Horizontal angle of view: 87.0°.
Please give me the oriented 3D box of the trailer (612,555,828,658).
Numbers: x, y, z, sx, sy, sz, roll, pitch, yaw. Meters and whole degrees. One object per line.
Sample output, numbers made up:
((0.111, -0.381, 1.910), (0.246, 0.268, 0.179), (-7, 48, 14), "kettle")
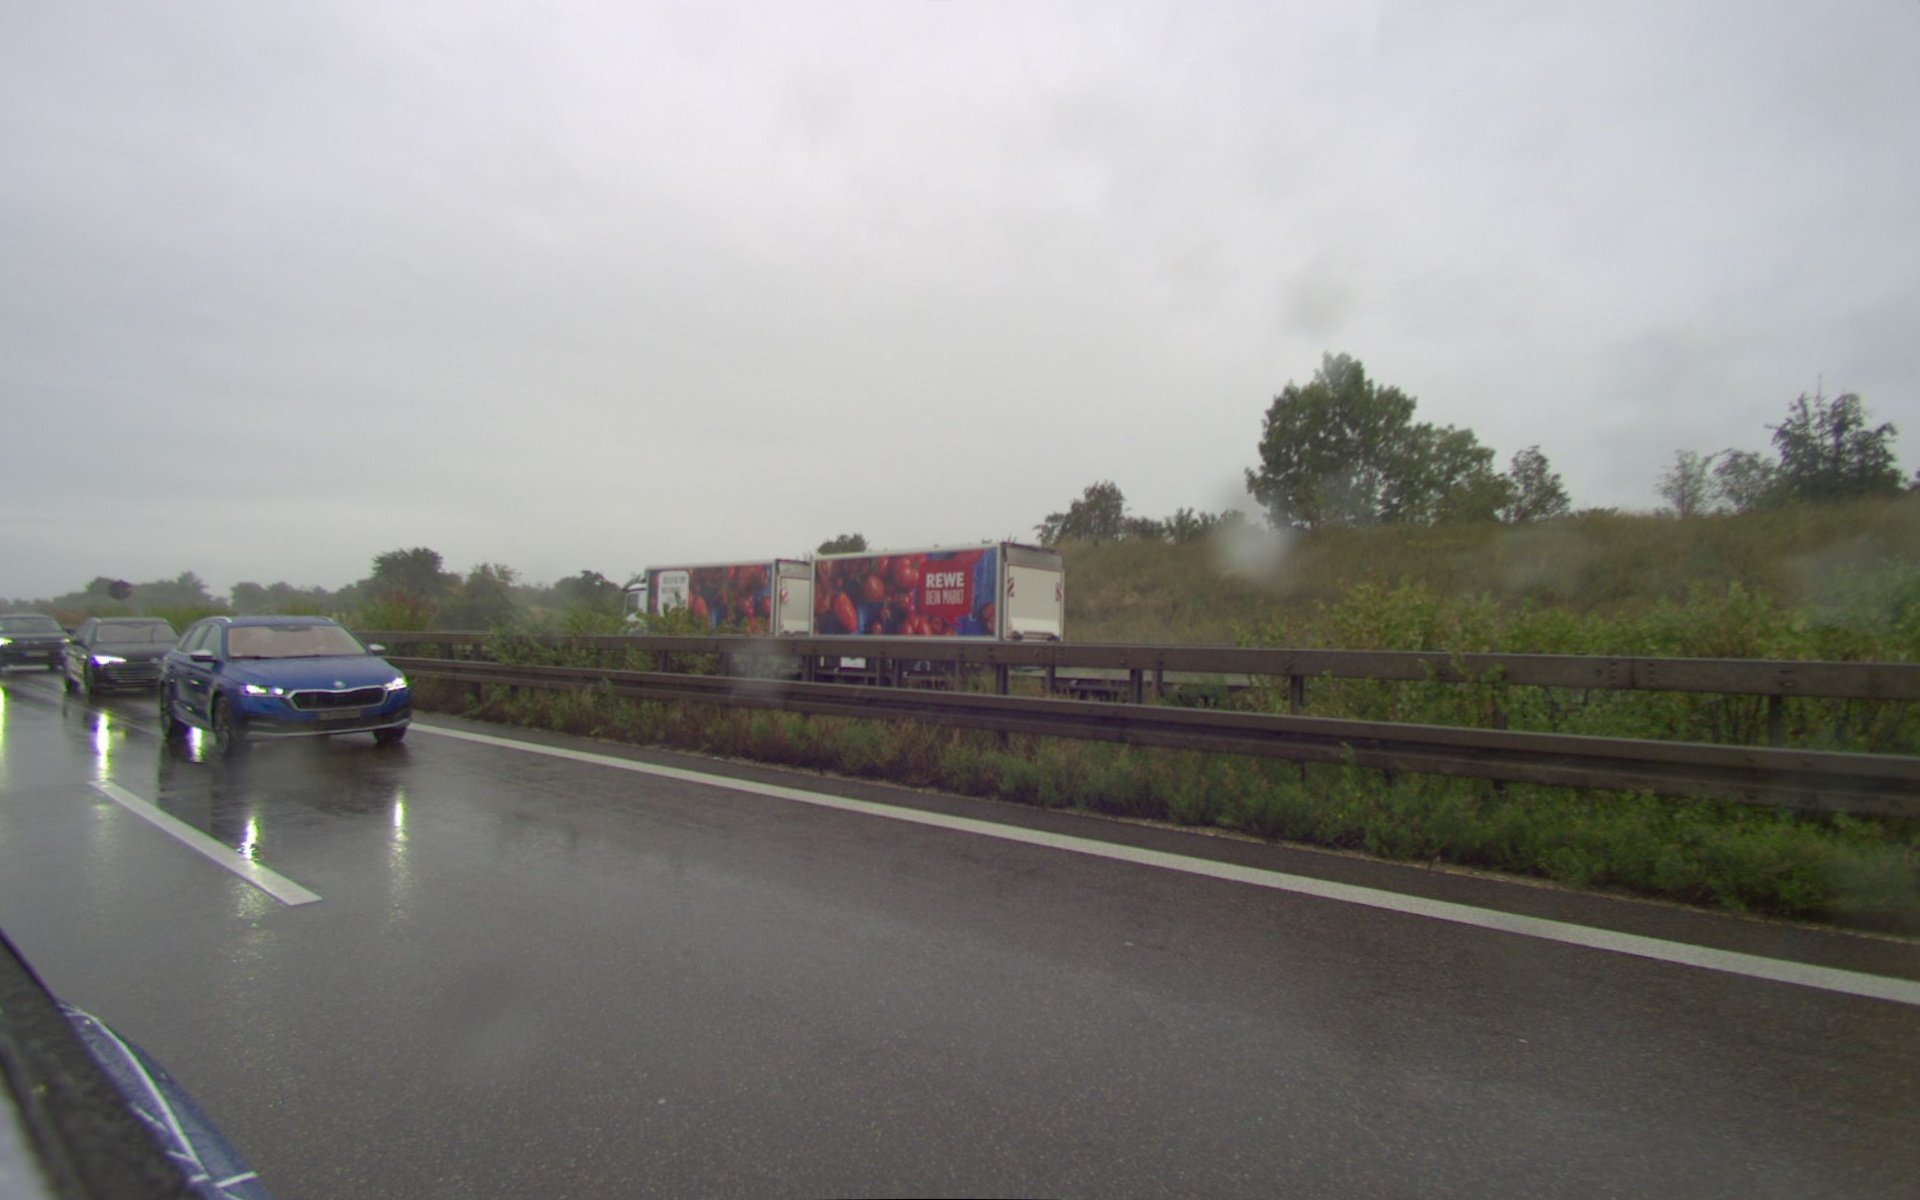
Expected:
((-8.409, 0.286, 34.392), (9.550, 3.105, 1.973), (-1, -1, 41), "trailer")

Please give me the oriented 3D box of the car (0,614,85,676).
((-27.021, 1.264, 29.400), (4.267, 1.644, 1.864), (-1, -1, 41), "car")

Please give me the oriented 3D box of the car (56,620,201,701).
((-16.818, 1.143, 20.406), (4.368, 1.447, 1.592), (-1, -1, 41), "car")

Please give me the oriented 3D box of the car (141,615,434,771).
((-8.021, 0.945, 11.889), (4.510, 1.487, 1.767), (-1, -1, 41), "car")

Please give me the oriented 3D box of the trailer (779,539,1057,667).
((-1.483, 0.146, 28.284), (8.868, 3.105, 1.973), (-1, -1, 41), "trailer")
